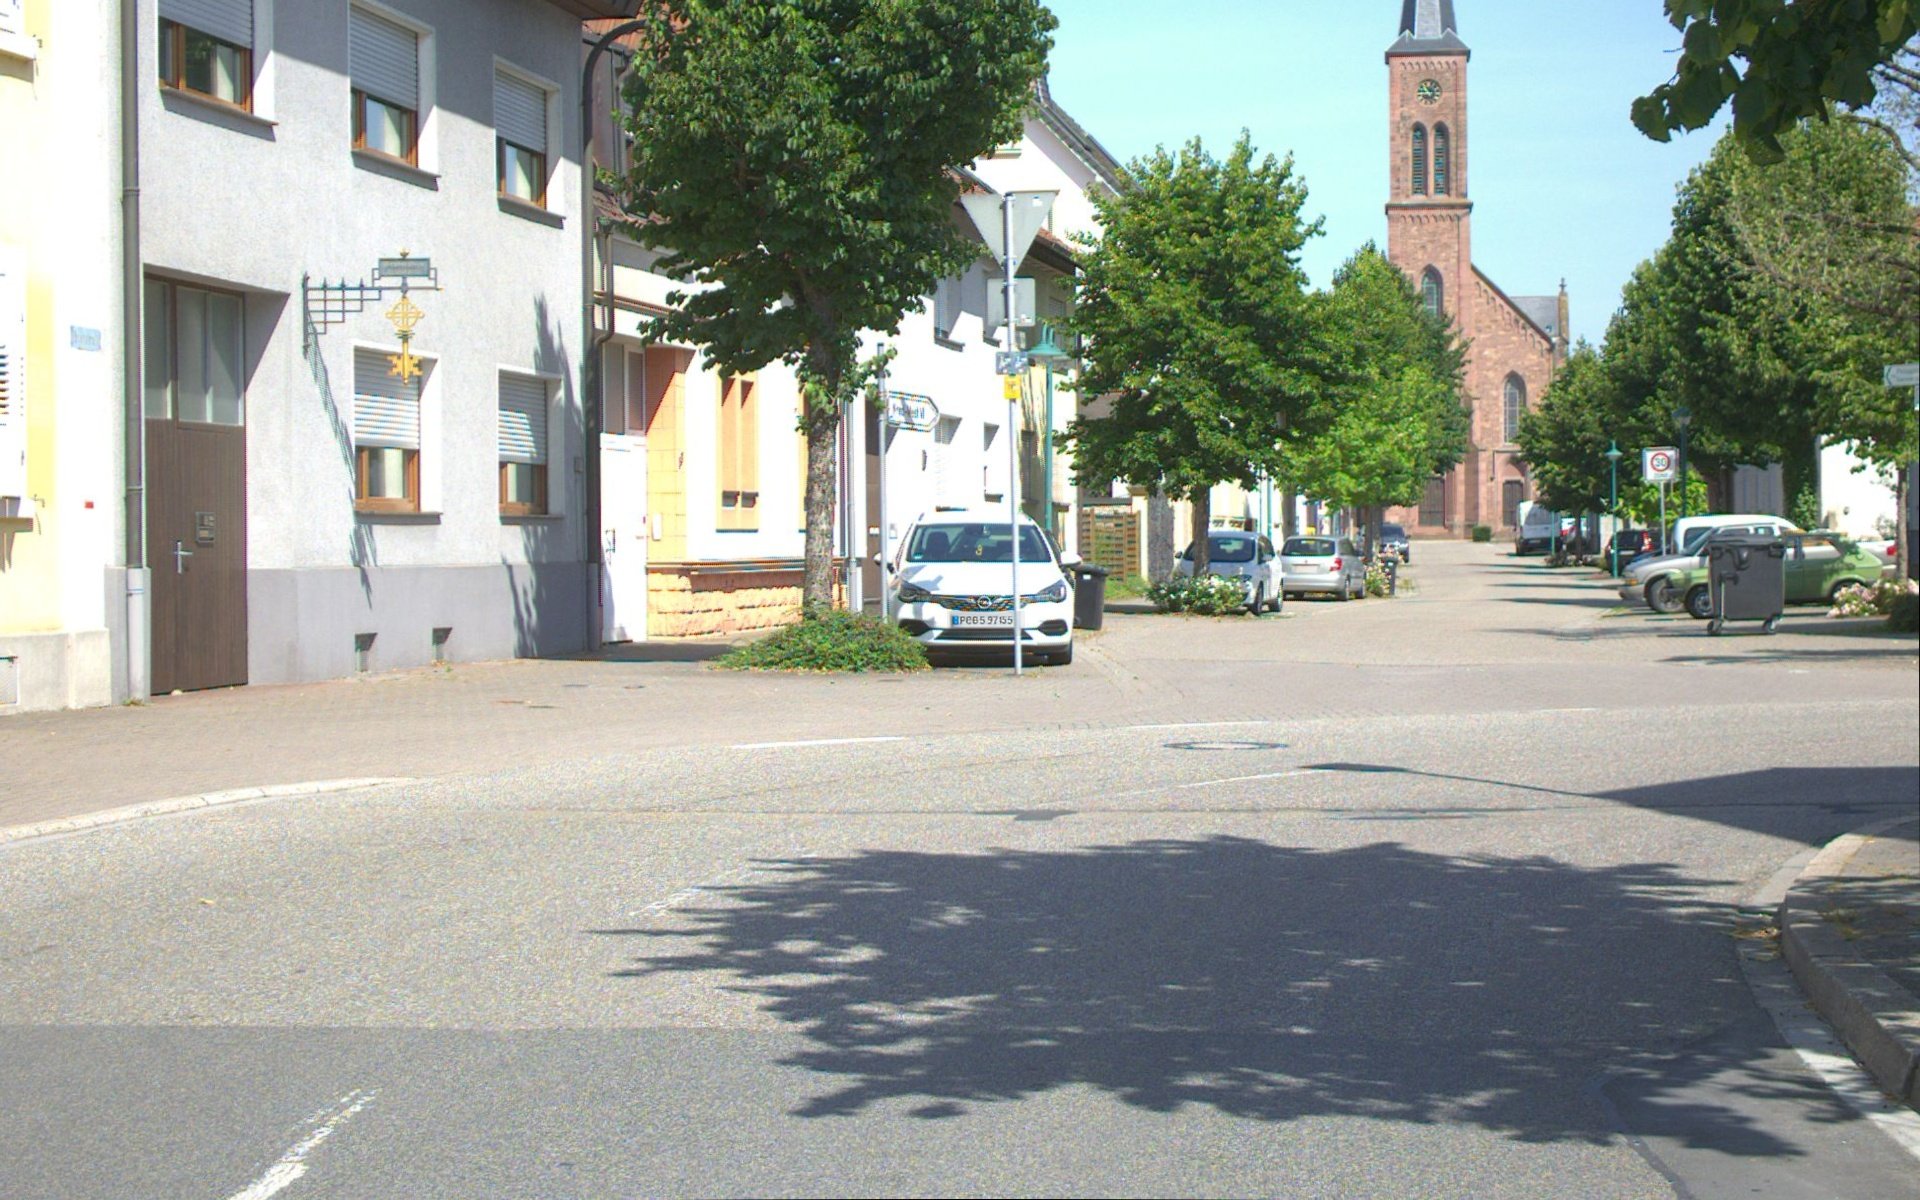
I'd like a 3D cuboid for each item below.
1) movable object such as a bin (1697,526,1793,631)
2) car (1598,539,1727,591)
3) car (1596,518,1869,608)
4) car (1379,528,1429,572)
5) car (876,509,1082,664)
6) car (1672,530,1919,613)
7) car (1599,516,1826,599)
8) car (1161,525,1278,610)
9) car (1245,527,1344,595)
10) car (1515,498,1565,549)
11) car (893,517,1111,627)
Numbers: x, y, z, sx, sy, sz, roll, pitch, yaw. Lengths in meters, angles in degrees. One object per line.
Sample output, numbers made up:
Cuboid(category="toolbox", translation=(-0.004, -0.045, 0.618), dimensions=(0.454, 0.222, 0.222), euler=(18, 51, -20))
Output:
Cuboid(category="movable object such as a bin", translation=(10.174, -0.280, 44.559), dimensions=(1.188, 1.333, 0.788), euler=(-1, 1, 13))
Cuboid(category="car", translation=(22.899, -1.153, 112.183), dimensions=(3.988, 1.612, 2.000), euler=(-1, 1, 8))
Cuboid(category="car", translation=(14.208, -0.698, 63.457), dimensions=(4.805, 1.618, 1.999), euler=(0, 1, 9))
Cuboid(category="car", translation=(18.986, -2.141, 147.020), dimensions=(1.994, 1.809, 3.999), euler=(-1, 1, 6))
Cuboid(category="car", translation=(0.121, -0.182, 34.181), dimensions=(1.849, 1.435, 4.514), euler=(0, 1, -2))
Cuboid(category="car", translation=(13.856, -0.487, 56.994), dimensions=(3.925, 1.340, 1.999), euler=(0, 1, 9))
Cuboid(category="car", translation=(14.421, -0.823, 66.115), dimensions=(4.152, 1.563, 1.999), euler=(0, 1, 9))
Cuboid(category="car", translation=(5.051, -0.644, 66.463), dimensions=(1.994, 1.568, 3.999), euler=(-1, 1, 8))
Cuboid(category="car", translation=(7.481, -0.894, 77.225), dimensions=(1.994, 1.459, 4.000), euler=(0, 1, 3))
Cuboid(category="car", translation=(27.296, -3.586, 161.781), dimensions=(2.246, 2.271, 4.501), euler=(1, 1, 9))
Cuboid(category="car", translation=(0.661, -0.430, 47.848), dimensions=(1.985, 1.435, 5.208), euler=(0, 1, 13))
